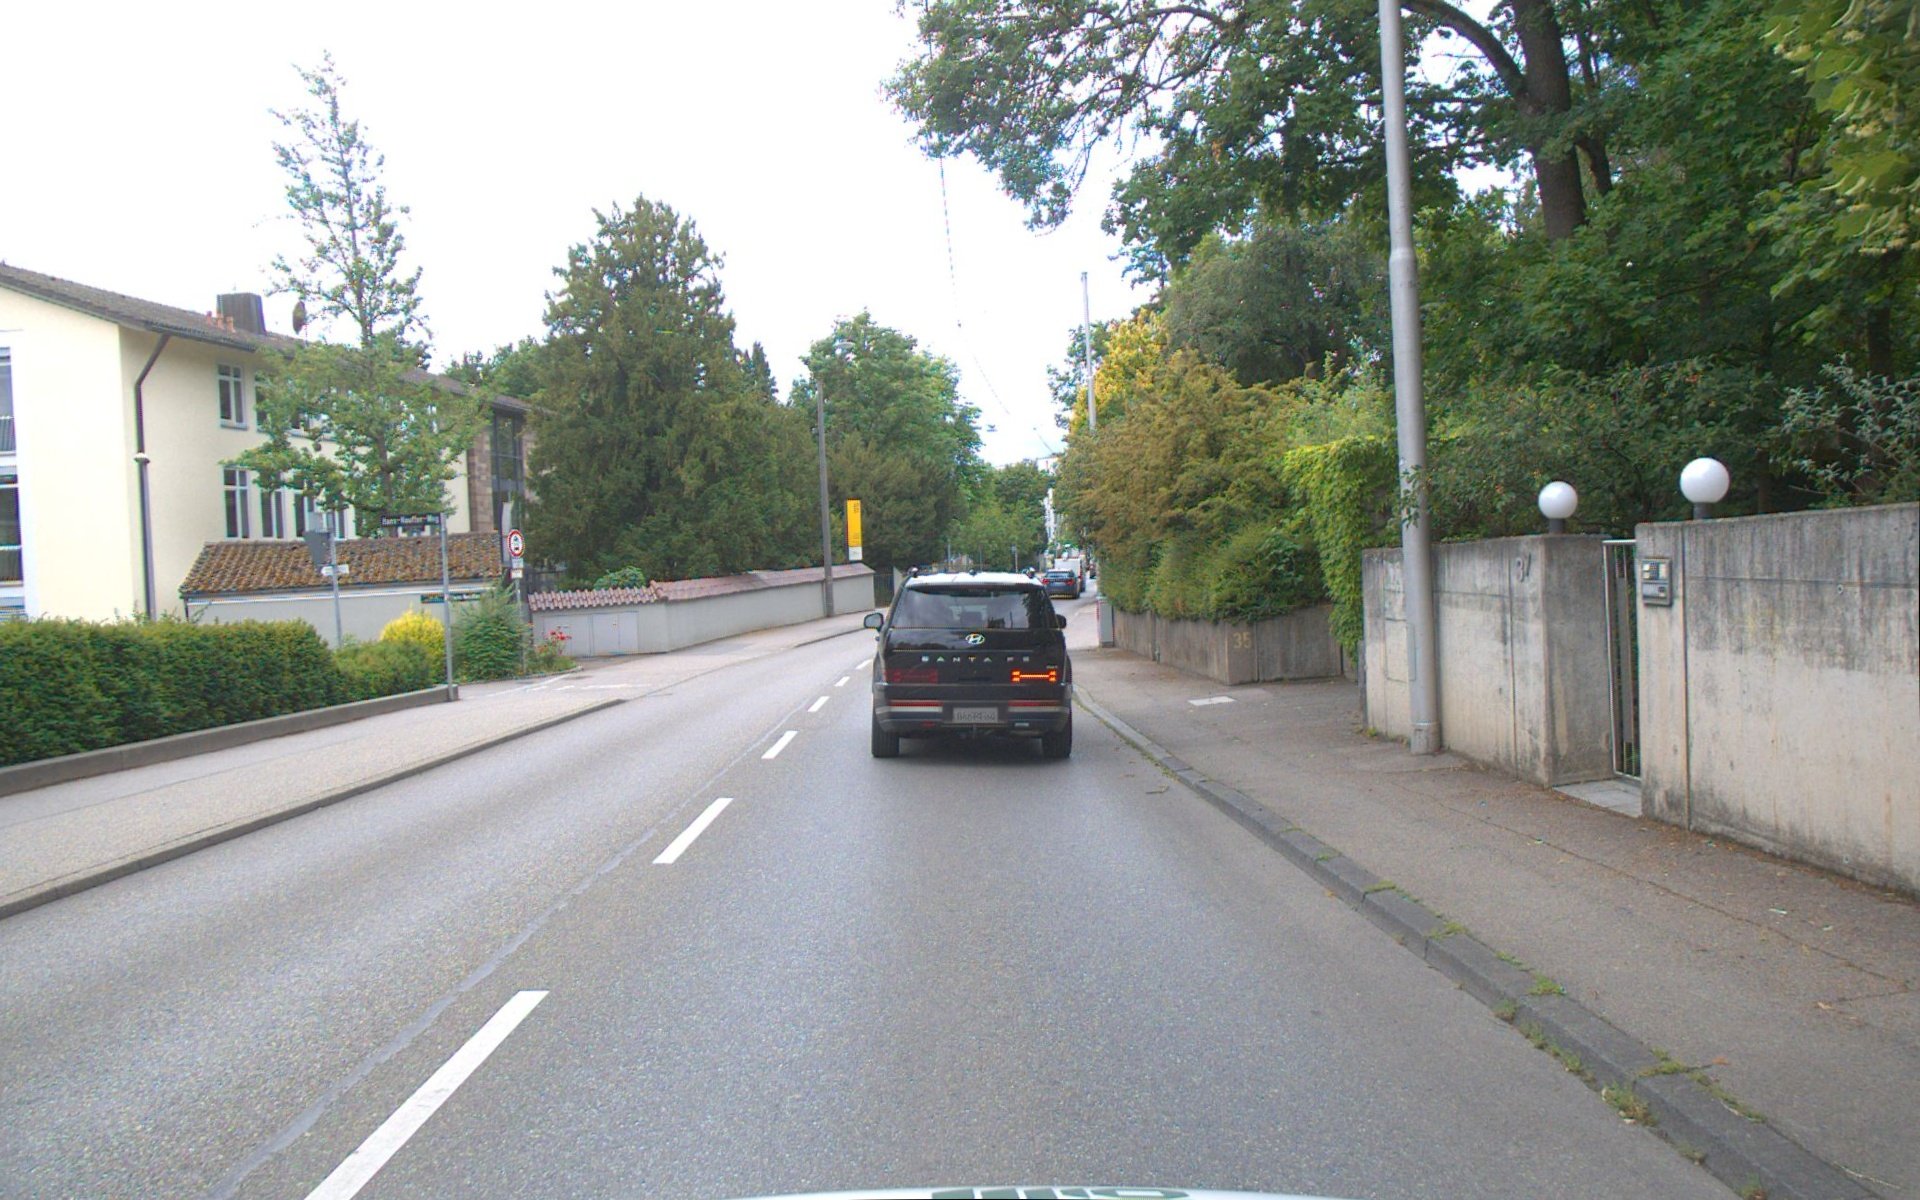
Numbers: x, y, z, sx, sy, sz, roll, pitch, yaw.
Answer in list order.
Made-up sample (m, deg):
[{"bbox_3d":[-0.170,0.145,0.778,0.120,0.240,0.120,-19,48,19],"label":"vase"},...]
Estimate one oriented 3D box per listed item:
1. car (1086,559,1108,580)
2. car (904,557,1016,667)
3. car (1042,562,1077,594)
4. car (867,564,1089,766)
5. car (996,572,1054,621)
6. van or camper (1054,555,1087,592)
[{"bbox_3d":[11.719,-2.617,141.406,1.640,1.568,3.942,-3,2,7],"label":"car"},{"bbox_3d":[0.072,0.165,33.034,1.916,1.989,4.227,0,2,4],"label":"car"},{"bbox_3d":[5.110,-1.150,84.645,1.640,1.447,3.941,-3,2,5],"label":"car"},{"bbox_3d":[0.129,0.540,16.376,1.917,1.743,4.223,0,1,-1],"label":"car"},{"bbox_3d":[2.254,-0.144,56.480,1.640,1.447,3.941,-3,2,7],"label":"car"},{"bbox_3d":[6.630,-1.581,99.072,1.640,2.042,3.942,-3,2,7],"label":"van or camper"}]
